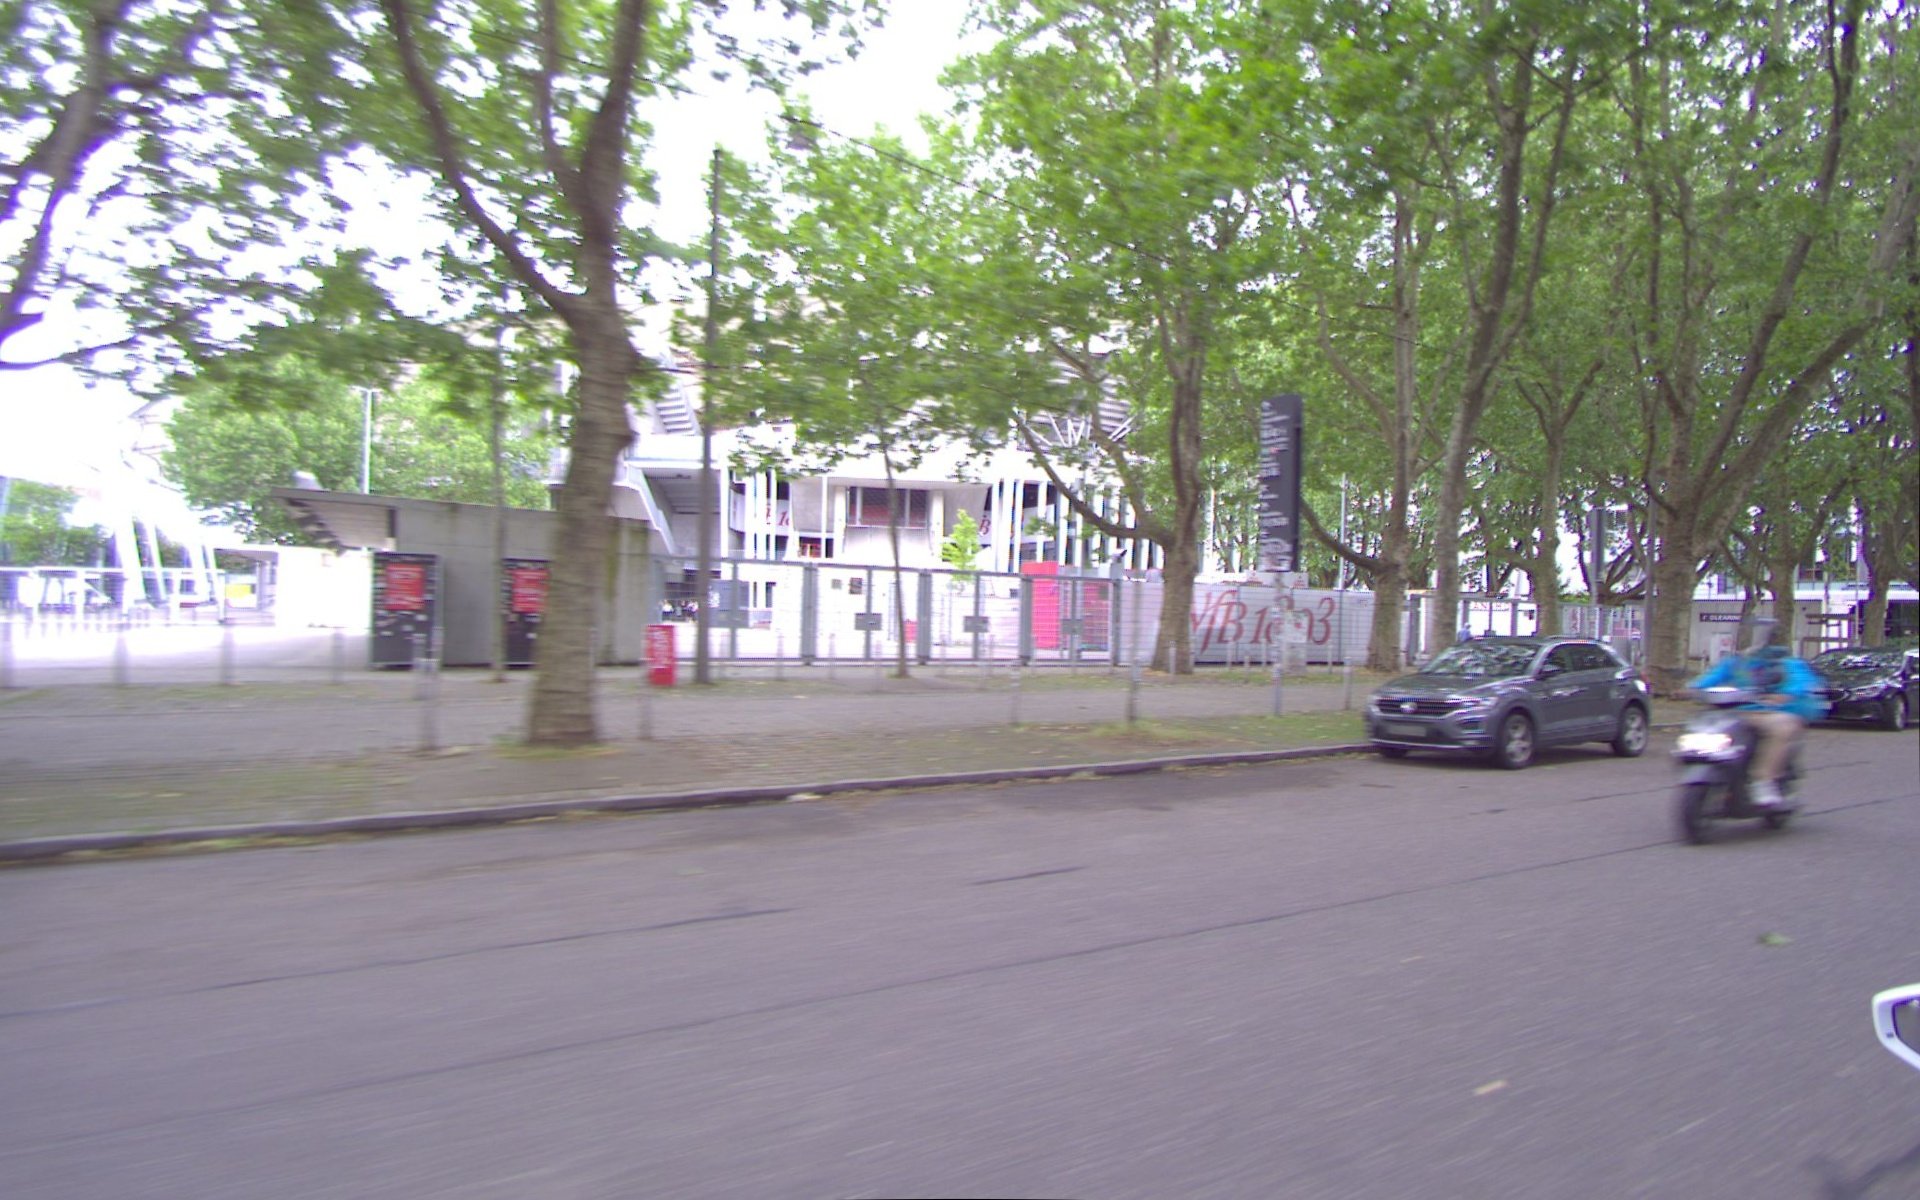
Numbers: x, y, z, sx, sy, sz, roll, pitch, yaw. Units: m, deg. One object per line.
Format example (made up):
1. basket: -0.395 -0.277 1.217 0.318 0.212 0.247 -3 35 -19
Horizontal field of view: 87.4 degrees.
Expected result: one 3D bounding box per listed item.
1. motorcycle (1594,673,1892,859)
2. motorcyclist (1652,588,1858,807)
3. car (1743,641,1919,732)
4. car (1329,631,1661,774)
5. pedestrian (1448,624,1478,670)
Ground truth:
1. motorcycle: 5.970 1.139 7.571 3.021 1.093 0.868 2 -1 -34
2. motorcyclist: 5.987 0.684 7.566 1.252 1.499 0.865 2 -1 -34
3. car: 16.579 1.530 18.418 4.569 1.485 1.820 2 -2 -28
4. car: 6.852 1.206 12.792 4.102 1.547 1.869 2 -2 -30
5. pedestrian: 17.510 1.644 34.952 0.652 1.564 0.664 2 -1 -29
